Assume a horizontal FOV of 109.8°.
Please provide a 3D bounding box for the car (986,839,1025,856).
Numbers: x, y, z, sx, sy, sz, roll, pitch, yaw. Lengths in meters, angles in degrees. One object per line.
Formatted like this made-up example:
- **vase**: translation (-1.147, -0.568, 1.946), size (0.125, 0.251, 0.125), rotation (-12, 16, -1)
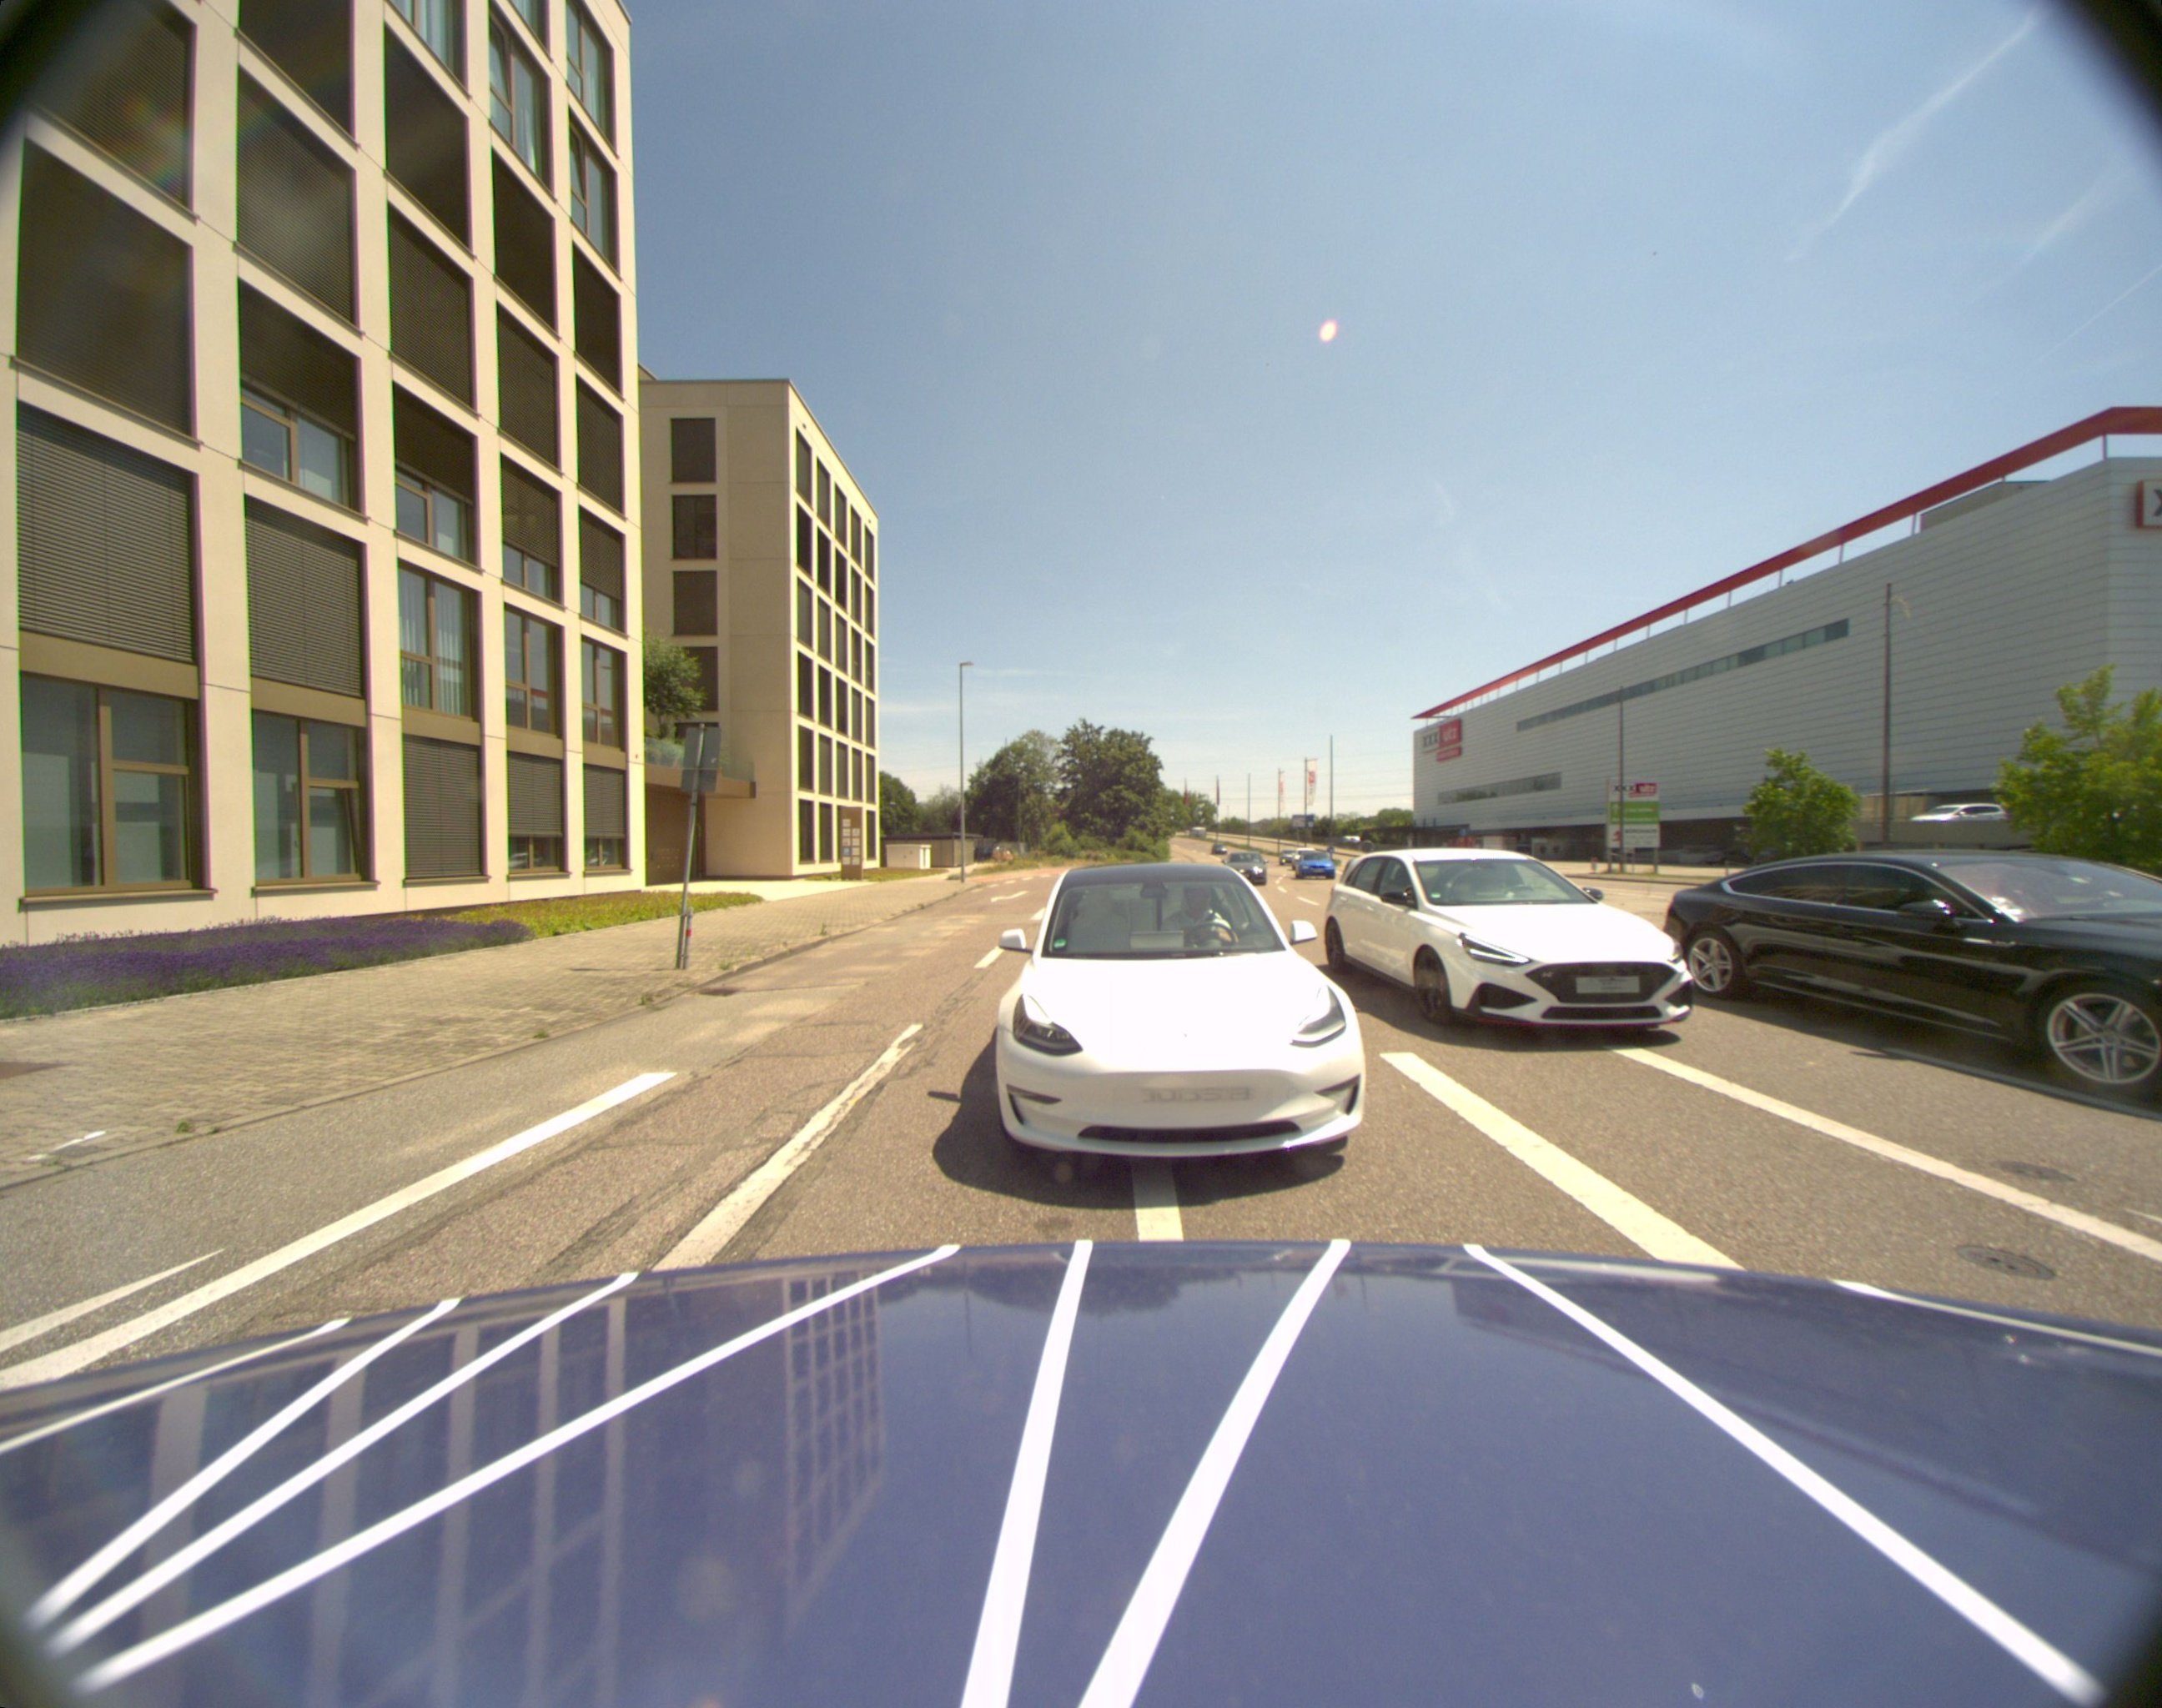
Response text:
- **car**: translation (-8.586, -0.768, 86.104), size (4.005, 1.942, 1.996), rotation (0, 1, -24)

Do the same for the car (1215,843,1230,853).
- **car**: translation (19.124, -0.822, 102.898), size (1.475, 1.182, 3.352), rotation (-2, 2, 1)

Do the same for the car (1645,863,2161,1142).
- **car**: translation (6.587, 0.800, 5.519), size (1.752, 1.382, 4.534), rotation (-1, 0, 3)

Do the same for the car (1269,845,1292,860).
- **car**: translation (21.848, -0.167, 83.482), size (1.837, 1.652, 4.001), rotation (0, 1, 6)

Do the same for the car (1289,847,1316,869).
- **car**: translation (16.690, 0.264, 57.286), size (1.677, 1.566, 4.060), rotation (-1, 1, 13)

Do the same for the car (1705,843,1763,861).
- **car**: translation (61.168, -0.178, 71.196), size (3.746, 1.611, 1.912), rotation (0, 1, 1)

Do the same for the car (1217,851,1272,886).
- **car**: translation (6.835, 0.559, 32.187), size (1.801, 1.369, 4.408), rotation (0, 1, 6)

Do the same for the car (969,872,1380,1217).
- **car**: translation (0.393, 0.938, 5.742), size (1.880, 1.417, 4.405), rotation (-2, 0, -1)

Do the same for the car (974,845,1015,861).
- **car**: translation (-9.361, -0.157, 81.946), size (4.005, 1.652, 1.834), rotation (0, 1, -23)

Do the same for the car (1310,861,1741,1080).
- **car**: translation (3.688, 0.822, 7.341), size (1.735, 1.441, 4.230), rotation (0, 0, 1)

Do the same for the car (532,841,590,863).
- **car**: translation (-46.150, -0.190, 67.504), size (1.997, 1.841, 4.003), rotation (0, 1, 10)

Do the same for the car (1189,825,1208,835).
- **car**: translation (22.844, -4.656, 147.454), size (1.837, 1.840, 4.833), rotation (-1, 1, -15)

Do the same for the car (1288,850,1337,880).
- **car**: translation (11.838, 0.523, 39.124), size (1.800, 1.405, 4.409), rotation (0, 1, 9)
